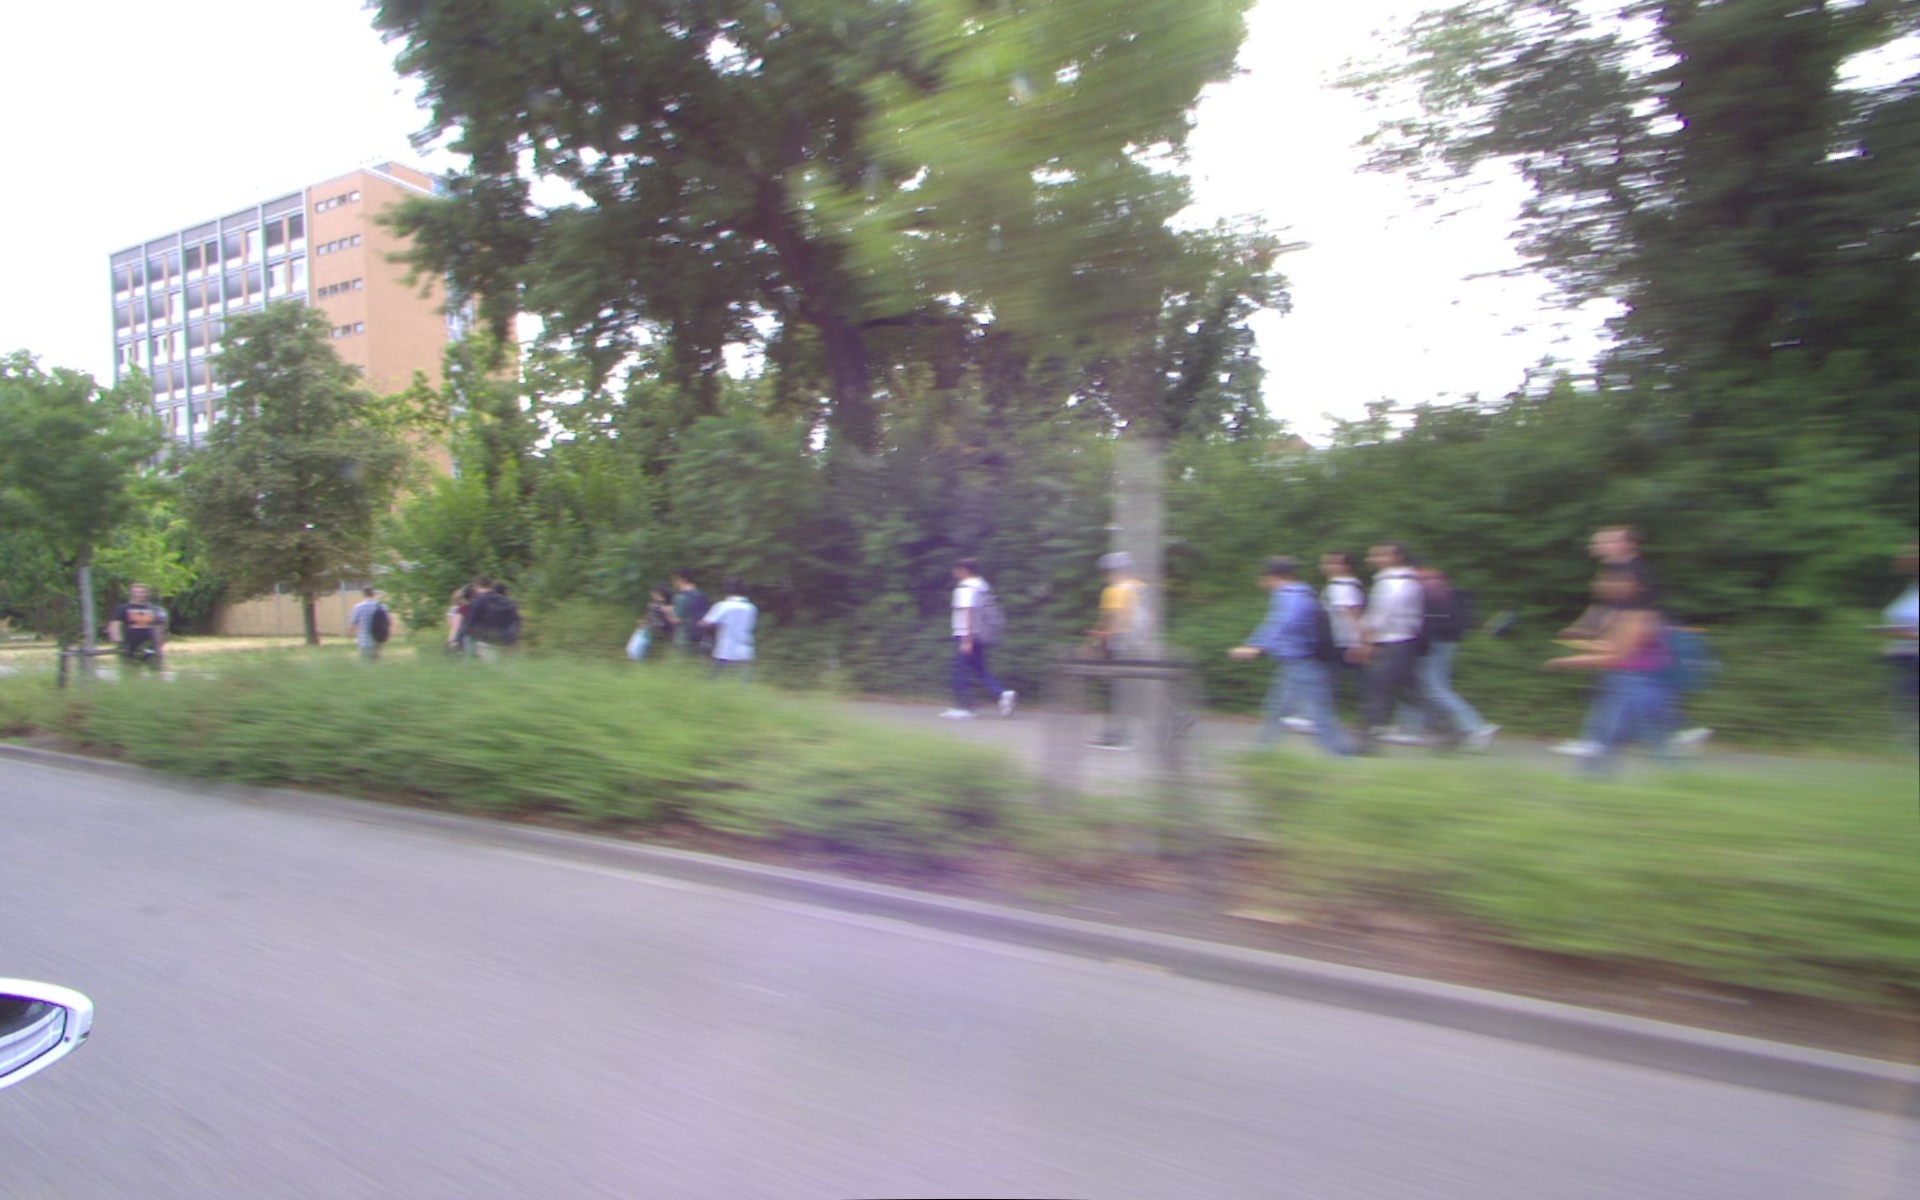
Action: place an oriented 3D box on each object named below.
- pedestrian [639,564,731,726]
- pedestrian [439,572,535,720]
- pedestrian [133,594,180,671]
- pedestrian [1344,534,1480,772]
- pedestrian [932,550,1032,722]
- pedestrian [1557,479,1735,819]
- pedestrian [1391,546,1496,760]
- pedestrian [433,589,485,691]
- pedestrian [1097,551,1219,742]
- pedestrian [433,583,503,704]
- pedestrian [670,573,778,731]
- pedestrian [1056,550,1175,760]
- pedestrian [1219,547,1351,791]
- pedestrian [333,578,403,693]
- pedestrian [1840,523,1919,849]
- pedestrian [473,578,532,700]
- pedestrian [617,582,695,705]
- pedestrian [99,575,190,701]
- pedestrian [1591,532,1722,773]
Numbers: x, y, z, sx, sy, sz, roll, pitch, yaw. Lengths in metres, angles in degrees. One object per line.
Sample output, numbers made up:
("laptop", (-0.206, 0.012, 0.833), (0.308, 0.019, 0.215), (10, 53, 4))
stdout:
("pedestrian", (-3.259, 0.513, 11.893), (0.800, 1.846, 0.654), (0, 1, 32))
("pedestrian", (-6.125, 0.573, 12.973), (0.940, 1.846, 0.691), (0, 1, 32))
("pedestrian", (-18.116, 0.727, 22.572), (0.737, 1.705, 0.586), (0, 1, 32))
("pedestrian", (3.627, 0.403, 8.029), (0.943, 1.790, 0.656), (0, 1, 29))
("pedestrian", (0.243, 0.368, 10.762), (0.800, 1.768, 0.719), (0, 1, 32))
("pedestrian", (3.847, 0.257, 5.679), (0.768, 1.769, 0.655), (0, 1, 29))
("pedestrian", (4.131, 0.429, 8.538), (0.768, 1.722, 0.655), (0, 1, 29))
("pedestrian", (-8.263, 0.647, 16.523), (0.643, 1.655, 0.467), (0, 1, 32))
("pedestrian", (1.861, 0.413, 9.388), (0.956, 1.689, 0.655), (0, 1, 29))
("pedestrian", (-7.015, 0.605, 14.275), (0.742, 1.677, 0.554), (0, 1, 32))
("pedestrian", (-2.543, 0.531, 10.801), (0.800, 1.624, 0.774), (0, 1, 32))
("pedestrian", (1.349, 0.448, 8.656), (0.829, 1.712, 0.655), (0, 1, 29))
("pedestrian", (2.386, 0.470, 7.329), (0.800, 1.670, 0.655), (0, 1, 29))
("pedestrian", (-9.317, 0.549, 15.766), (0.803, 1.759, 0.617), (0, 1, 32))
("pedestrian", (5.504, 0.464, 5.580), (0.778, 1.769, 0.580), (0, 1, 29))
("pedestrian", (-6.862, 0.576, 15.025), (0.654, 1.787, 0.483), (0, 1, 32))
("pedestrian", (-4.112, 0.568, 13.571), (0.774, 1.605, 0.634), (0, 1, 32))
("pedestrian", (-12.469, 0.560, 15.345), (0.924, 1.855, 0.882), (-1, 1, -31))
("pedestrian", (5.391, 0.386, 7.799), (0.768, 1.769, 0.655), (0, 1, 29))
